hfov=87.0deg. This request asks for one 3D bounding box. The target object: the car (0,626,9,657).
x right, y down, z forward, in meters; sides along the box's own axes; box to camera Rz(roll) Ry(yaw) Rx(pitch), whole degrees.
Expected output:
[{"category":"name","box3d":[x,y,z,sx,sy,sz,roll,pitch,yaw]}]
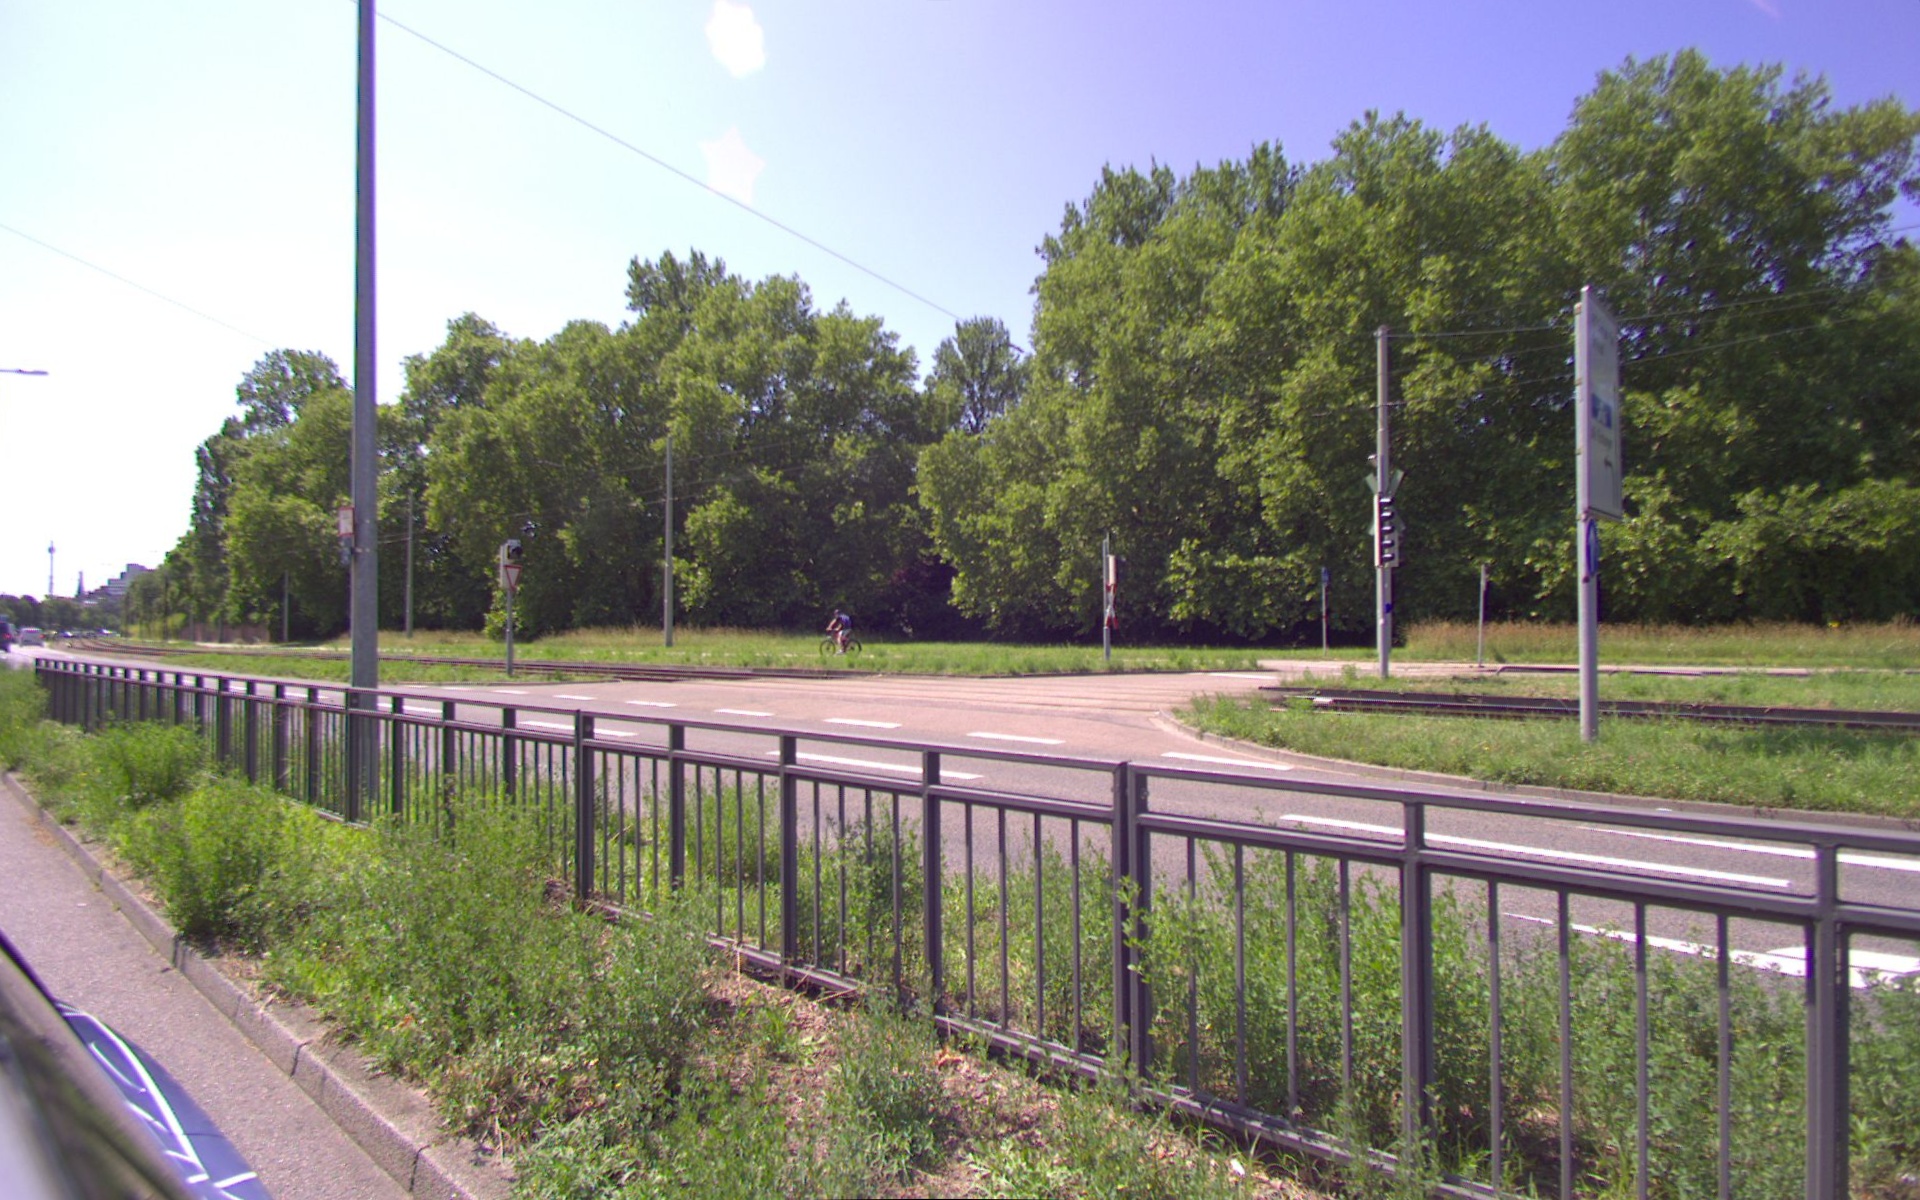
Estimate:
[{"category":"car","box3d":[-74.063,3.159,77.013,5.371,2.384,1.972,-2,-3,42]}]

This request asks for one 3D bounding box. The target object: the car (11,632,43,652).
[{"category":"car","box3d":[-99.743,4.494,108.196,5.028,2.029,1.972,-3,-4,42]}]

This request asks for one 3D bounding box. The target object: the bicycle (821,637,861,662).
[{"category":"bicycle","box3d":[-4.405,1.830,37.405,1.562,0.908,0.503,-2,-1,35]}]

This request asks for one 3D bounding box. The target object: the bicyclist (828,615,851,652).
[{"category":"bicyclist","box3d":[-4.442,1.227,37.311,0.679,1.346,0.503,-2,-2,35]}]
